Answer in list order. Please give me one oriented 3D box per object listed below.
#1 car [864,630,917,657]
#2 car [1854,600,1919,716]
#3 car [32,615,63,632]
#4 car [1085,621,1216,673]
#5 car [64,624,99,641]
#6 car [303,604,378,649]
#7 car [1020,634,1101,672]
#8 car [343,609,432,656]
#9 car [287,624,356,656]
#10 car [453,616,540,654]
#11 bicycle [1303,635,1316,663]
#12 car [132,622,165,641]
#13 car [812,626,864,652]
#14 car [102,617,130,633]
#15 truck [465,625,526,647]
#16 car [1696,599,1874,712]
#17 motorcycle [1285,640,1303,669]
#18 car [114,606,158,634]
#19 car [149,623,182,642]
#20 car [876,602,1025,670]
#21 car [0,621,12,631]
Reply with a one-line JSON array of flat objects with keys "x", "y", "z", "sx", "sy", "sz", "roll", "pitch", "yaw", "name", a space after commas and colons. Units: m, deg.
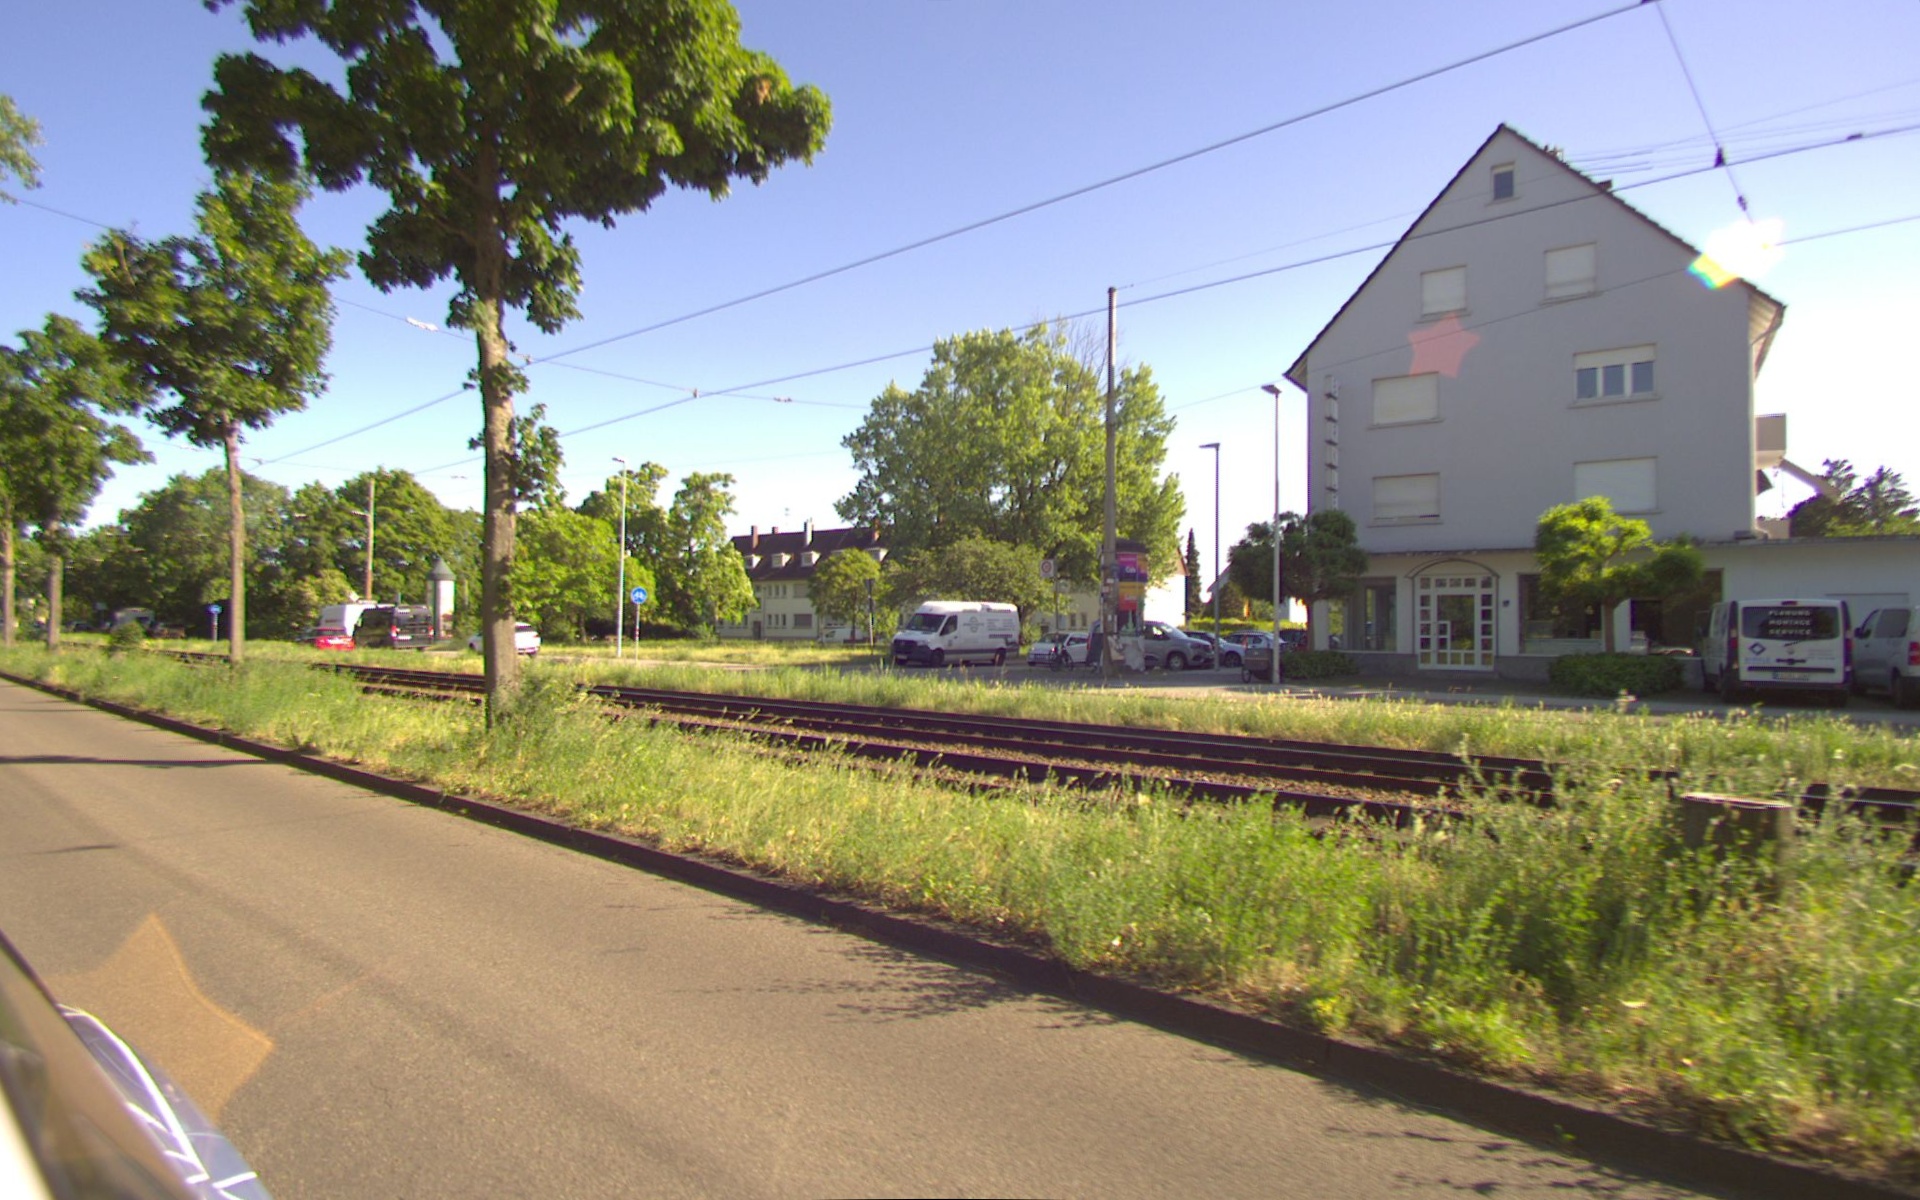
[{"x": -5.594, "y": 3.504, "z": 81.621, "sx": 3.993, "sy": 2.029, "sz": 1.975, "roll": -1, "pitch": -1, "yaw": 37, "name": "car"}, {"x": 18.214, "y": 1.023, "z": 18.503, "sx": 1.992, "sy": 1.967, "sz": 4.108, "roll": -1, "pitch": -2, "yaw": 30, "name": "car"}, {"x": -94.476, "y": 2.424, "z": 104.775, "sx": 4.980, "sy": 1.757, "sz": 1.791, "roll": -1, "pitch": -1, "yaw": 41, "name": "car"}, {"x": 6.550, "y": 1.571, "z": 34.880, "sx": 4.087, "sy": 1.683, "sz": 1.781, "roll": -1, "pitch": -1, "yaw": 33, "name": "car"}, {"x": -80.264, "y": 2.937, "z": 92.451, "sx": 3.750, "sy": 1.543, "sz": 1.972, "roll": -1, "pitch": -2, "yaw": 42, "name": "car"}, {"x": -36.542, "y": 1.512, "z": 59.610, "sx": 6.133, "sy": 2.515, "sz": 1.981, "roll": -1, "pitch": -1, "yaw": 41, "name": "car"}, {"x": 4.215, "y": 2.157, "z": 42.035, "sx": 1.747, "sy": 1.489, "sz": 3.580, "roll": -1, "pitch": -2, "yaw": 37, "name": "car"}, {"x": -30.676, "y": 1.675, "z": 54.096, "sx": 6.462, "sy": 2.394, "sz": 2.160, "roll": -1, "pitch": -1, "yaw": 41, "name": "car"}, {"x": -29.911, "y": 1.859, "z": 47.400, "sx": 3.998, "sy": 1.420, "sz": 1.659, "roll": -1, "pitch": -2, "yaw": 41, "name": "car"}, {"x": -20.906, "y": 1.541, "z": 45.601, "sx": 4.772, "sy": 1.619, "sz": 1.803, "roll": -1, "pitch": -1, "yaw": 42, "name": "car"}, {"x": 10.718, "y": 1.504, "z": 31.032, "sx": 0.191, "sy": 0.859, "sz": 0.750, "roll": -1, "pitch": -2, "yaw": 33, "name": "bicycle"}, {"x": -74.171, "y": 2.845, "z": 92.508, "sx": 4.530, "sy": 1.635, "sz": 1.605, "roll": -1, "pitch": -1, "yaw": 41, "name": "car"}, {"x": -10.240, "y": 3.241, "z": 84.921, "sx": 3.988, "sy": 2.029, "sz": 1.978, "roll": 0, "pitch": -1, "yaw": 33, "name": "car"}, {"x": -88.337, "y": 2.594, "z": 105.884, "sx": 4.282, "sy": 1.575, "sz": 1.748, "roll": -1, "pitch": -2, "yaw": 43, "name": "car"}, {"x": -41.160, "y": 3.174, "z": 89.762, "sx": 2.069, "sy": 1.883, "sz": 4.907, "roll": 0, "pitch": -1, "yaw": 21, "name": "truck"}, {"x": 16.079, "y": 1.023, "z": 20.000, "sx": 1.992, "sy": 1.960, "sz": 4.584, "roll": -1, "pitch": -2, "yaw": 30, "name": "car"}, {"x": 9.989, "y": 1.626, "z": 30.239, "sx": 0.310, "sy": 0.859, "sz": 0.883, "roll": -1, "pitch": -2, "yaw": 33, "name": "motorcycle"}, {"x": -79.615, "y": 1.920, "z": 97.732, "sx": 6.795, "sy": 2.600, "sz": 2.202, "roll": -2, "pitch": -2, "yaw": 41, "name": "car"}, {"x": -68.906, "y": 2.769, "z": 87.735, "sx": 4.248, "sy": 1.596, "sz": 1.656, "roll": -1, "pitch": -1, "yaw": 43, "name": "car"}, {"x": -0.224, "y": 1.395, "z": 41.222, "sx": 2.326, "sy": 2.526, "sz": 7.001, "roll": -2, "pitch": -2, "yaw": 36, "name": "car"}, {"x": -148.644, "y": 4.004, "z": 157.075, "sx": 4.441, "sy": 1.539, "sz": 1.708, "roll": -1, "pitch": -1, "yaw": 42, "name": "car"}]
